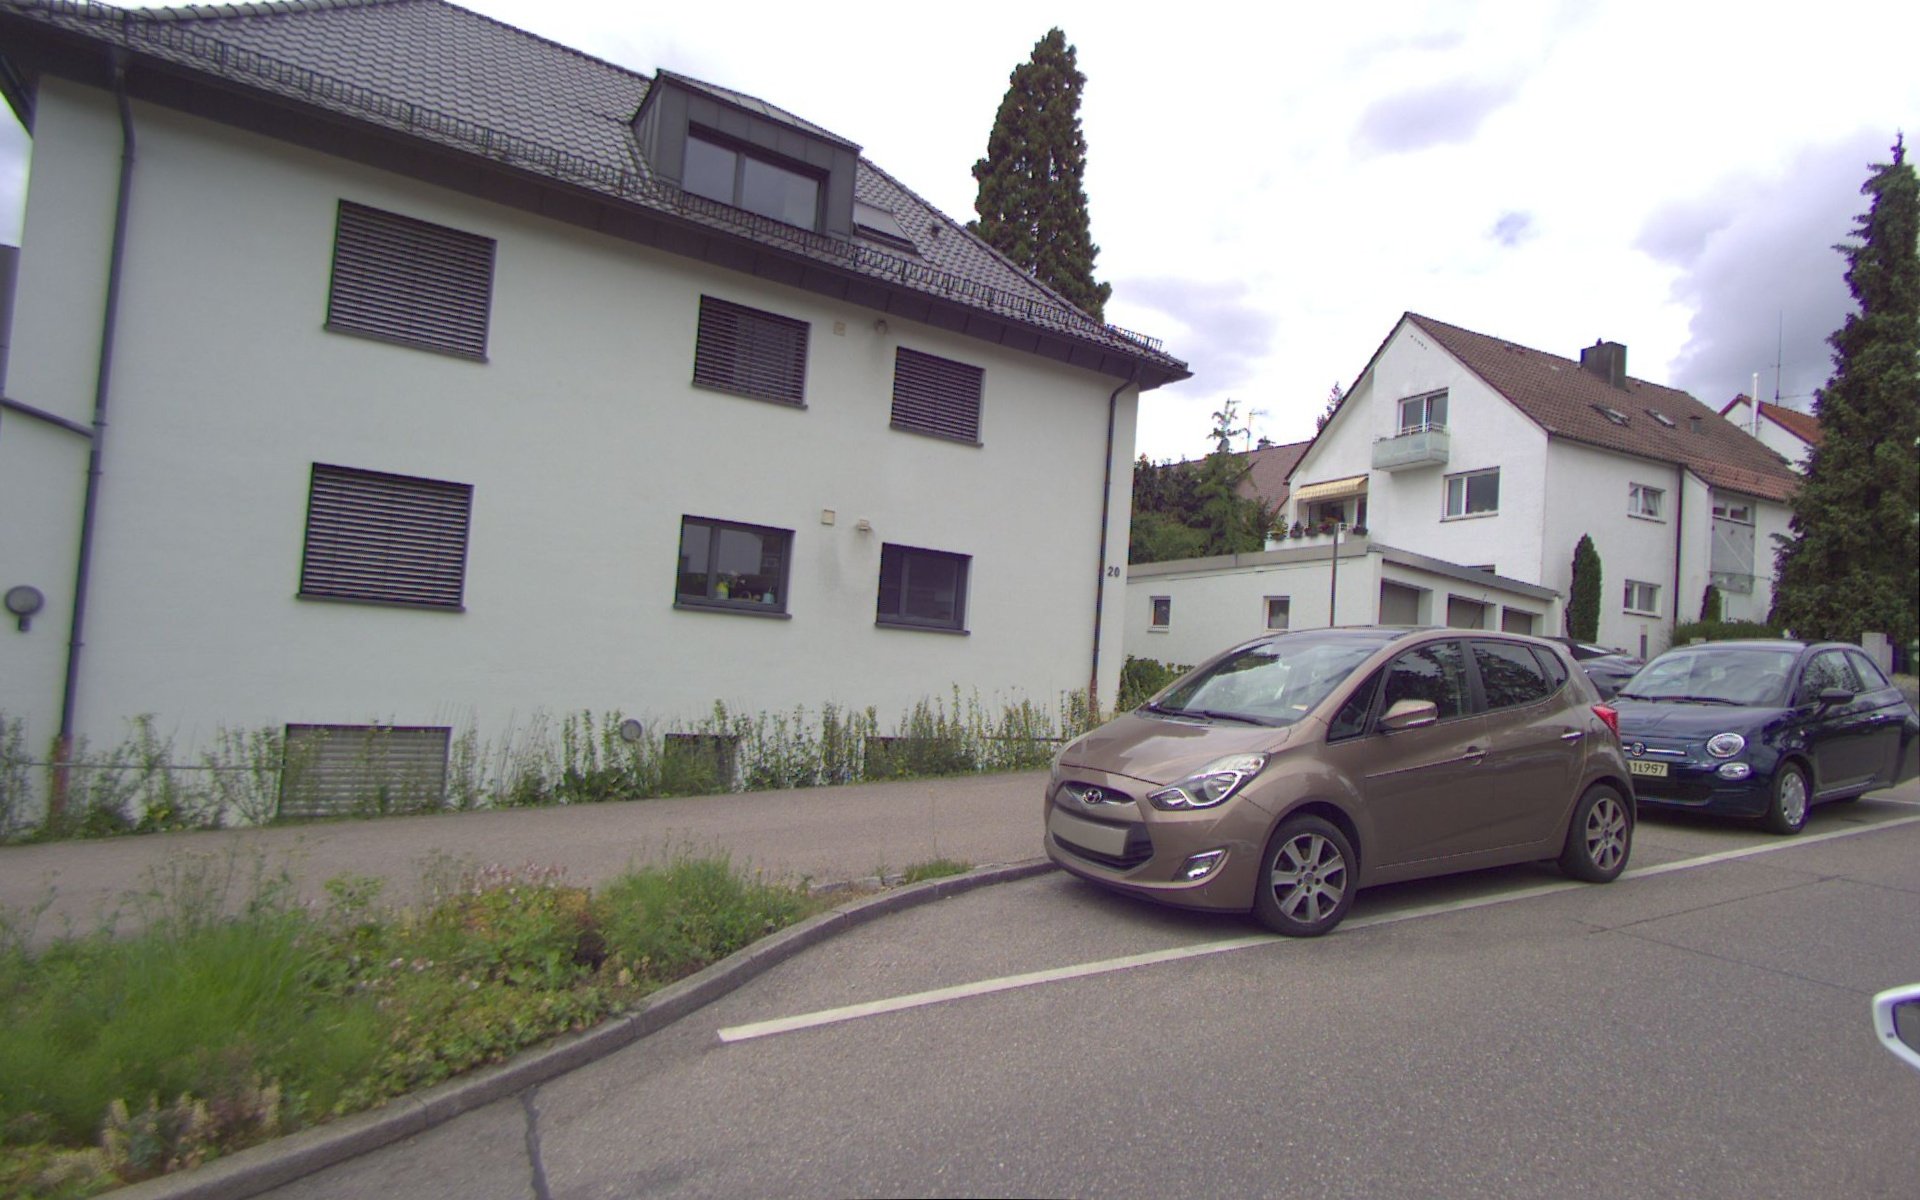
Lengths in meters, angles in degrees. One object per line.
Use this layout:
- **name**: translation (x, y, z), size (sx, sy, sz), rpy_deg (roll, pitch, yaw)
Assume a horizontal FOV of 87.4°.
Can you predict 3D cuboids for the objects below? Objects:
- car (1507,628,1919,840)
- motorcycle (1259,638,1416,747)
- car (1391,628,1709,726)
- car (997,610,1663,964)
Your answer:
- **car**: translation (6.910, 1.056, 9.079), size (3.463, 1.557, 1.870), rpy_deg (2, -2, -28)
- **motorcycle**: translation (4.301, 1.046, 11.404), size (1.834, 1.176, 0.429), rpy_deg (2, -3, -20)
- **car**: translation (9.745, 1.191, 16.932), size (1.884, 1.386, 4.262), rpy_deg (1, -1, -33)
- **car**: translation (2.352, 0.915, 6.312), size (3.823, 1.606, 1.870), rpy_deg (2, -2, -28)
